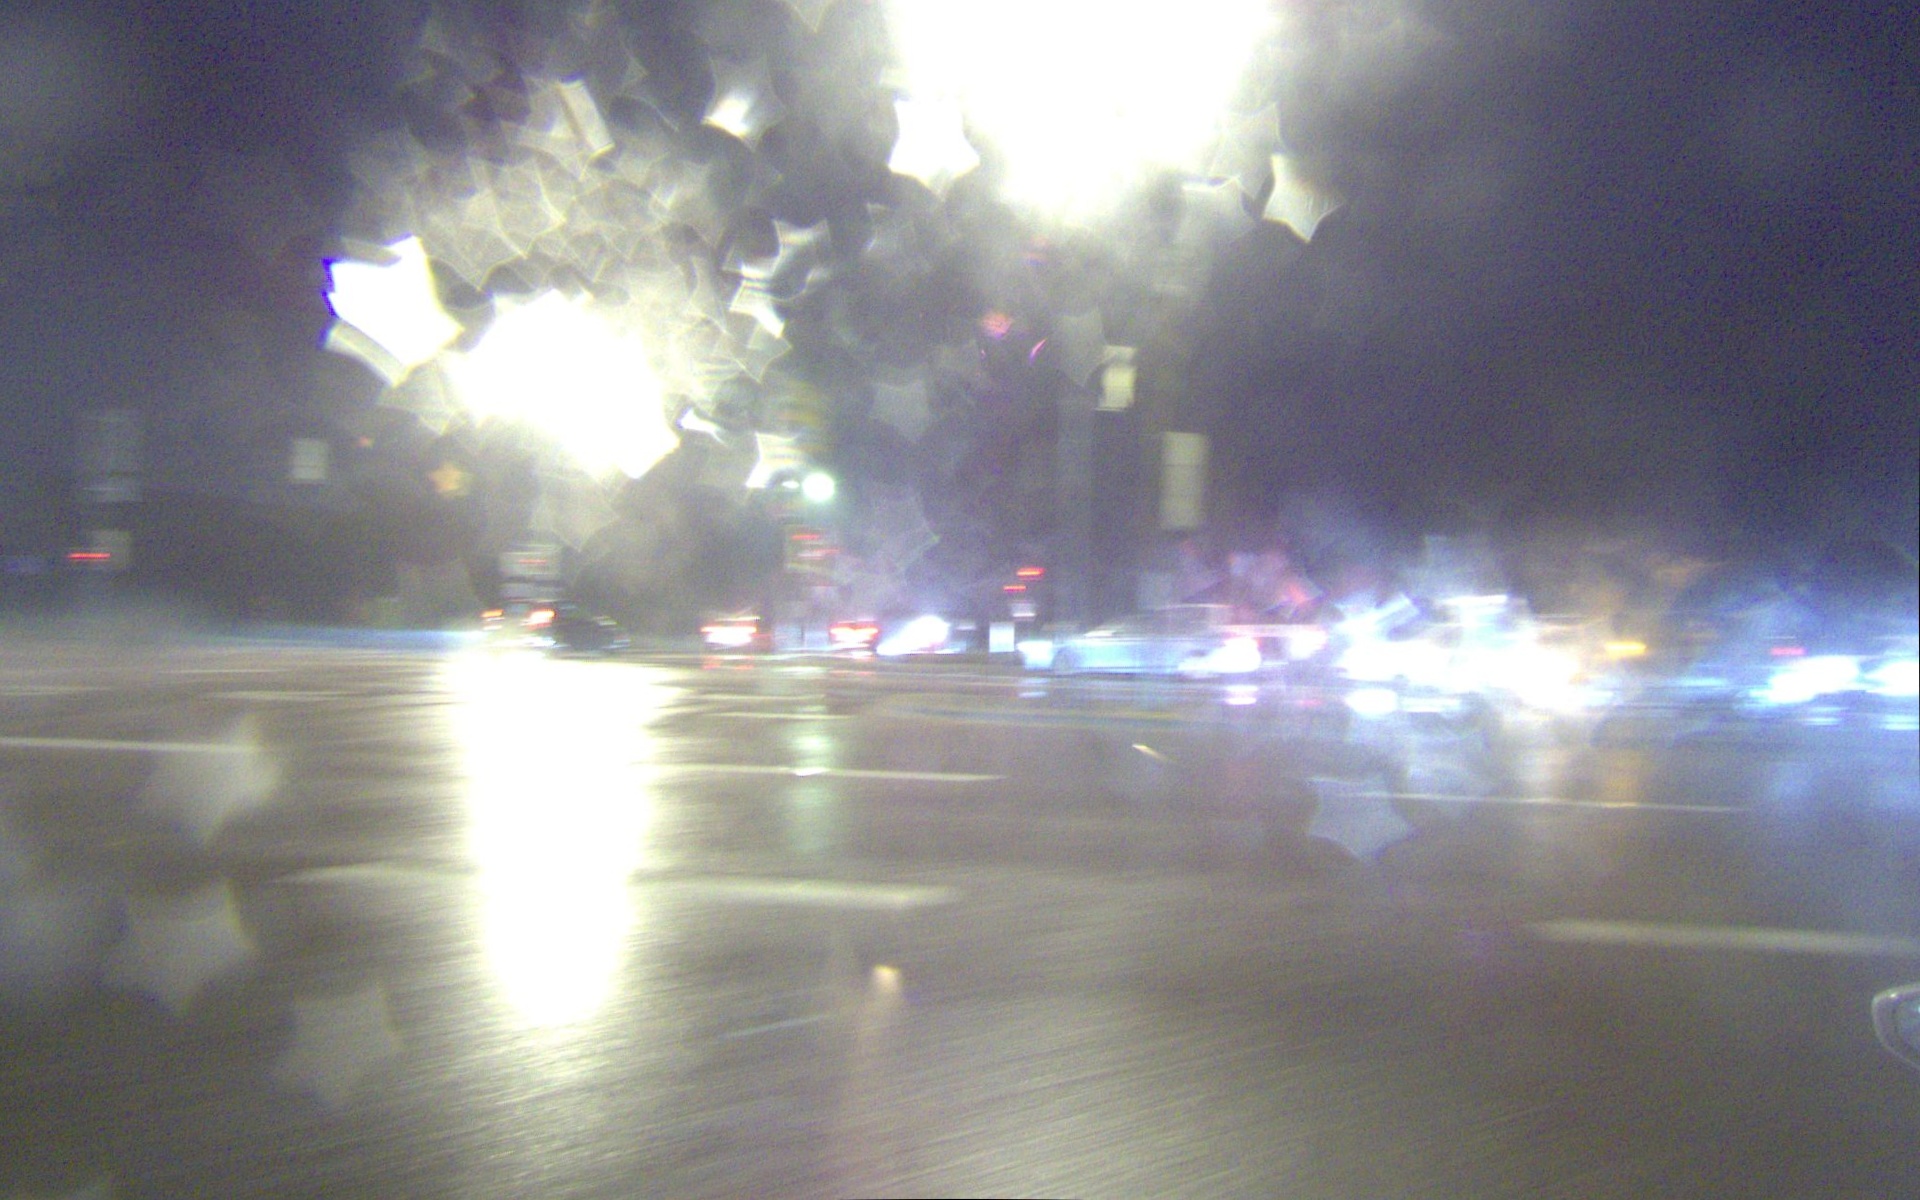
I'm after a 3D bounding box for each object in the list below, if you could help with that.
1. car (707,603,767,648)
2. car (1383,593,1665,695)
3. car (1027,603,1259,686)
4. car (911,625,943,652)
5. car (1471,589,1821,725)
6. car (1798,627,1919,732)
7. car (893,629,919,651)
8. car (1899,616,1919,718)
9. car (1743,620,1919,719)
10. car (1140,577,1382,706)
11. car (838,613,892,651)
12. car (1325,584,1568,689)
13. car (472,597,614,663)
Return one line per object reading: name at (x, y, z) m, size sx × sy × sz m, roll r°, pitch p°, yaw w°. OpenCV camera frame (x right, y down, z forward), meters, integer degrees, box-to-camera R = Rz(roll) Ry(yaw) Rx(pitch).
car at (-8.768, 0.955, 39.806) m, size 1.709 × 1.455 × 4.286 m, roll 3°, pitch 1°, yaw -5°
car at (9.942, 0.748, 17.987) m, size 3.976 × 1.507 × 1.719 m, roll 3°, pitch 0°, yaw 7°
car at (3.842, 0.926, 21.713) m, size 4.707 × 1.446 × 1.766 m, roll 3°, pitch 0°, yaw 4°
car at (-2.463, 2.867, 75.355) m, size 1.797 × 1.675 × 4.481 m, roll 4°, pitch 1°, yaw 4°
car at (9.900, 0.771, 14.764) m, size 3.823 × 1.748 × 1.766 m, roll 2°, pitch 0°, yaw 5°
car at (17.547, 1.456, 17.693) m, size 3.897 × 1.688 × 1.805 m, roll 3°, pitch 0°, yaw 3°
car at (-5.028, 3.738, 94.532) m, size 1.798 × 1.662 × 4.001 m, roll 4°, pitch 2°, yaw 5°
car at (16.218, 1.032, 14.055) m, size 4.323 × 1.503 × 1.783 m, roll 2°, pitch -1°, yaw 4°
car at (19.202, 1.465, 20.958) m, size 4.165 × 1.823 × 1.805 m, roll 3°, pitch 0°, yaw 3°
car at (7.561, 0.956, 25.506) m, size 5.498 × 2.746 × 2.256 m, roll 4°, pitch 2°, yaw 19°
car at (-4.496, 1.487, 47.963) m, size 1.819 × 1.612 × 4.025 m, roll 3°, pitch 0°, yaw 4°
car at (10.188, 0.720, 21.291) m, size 4.199 × 1.873 × 1.766 m, roll 3°, pitch 1°, yaw 3°
car at (-10.469, 0.691, 25.550) m, size 1.800 × 1.427 × 4.121 m, roll 3°, pitch 1°, yaw 1°
